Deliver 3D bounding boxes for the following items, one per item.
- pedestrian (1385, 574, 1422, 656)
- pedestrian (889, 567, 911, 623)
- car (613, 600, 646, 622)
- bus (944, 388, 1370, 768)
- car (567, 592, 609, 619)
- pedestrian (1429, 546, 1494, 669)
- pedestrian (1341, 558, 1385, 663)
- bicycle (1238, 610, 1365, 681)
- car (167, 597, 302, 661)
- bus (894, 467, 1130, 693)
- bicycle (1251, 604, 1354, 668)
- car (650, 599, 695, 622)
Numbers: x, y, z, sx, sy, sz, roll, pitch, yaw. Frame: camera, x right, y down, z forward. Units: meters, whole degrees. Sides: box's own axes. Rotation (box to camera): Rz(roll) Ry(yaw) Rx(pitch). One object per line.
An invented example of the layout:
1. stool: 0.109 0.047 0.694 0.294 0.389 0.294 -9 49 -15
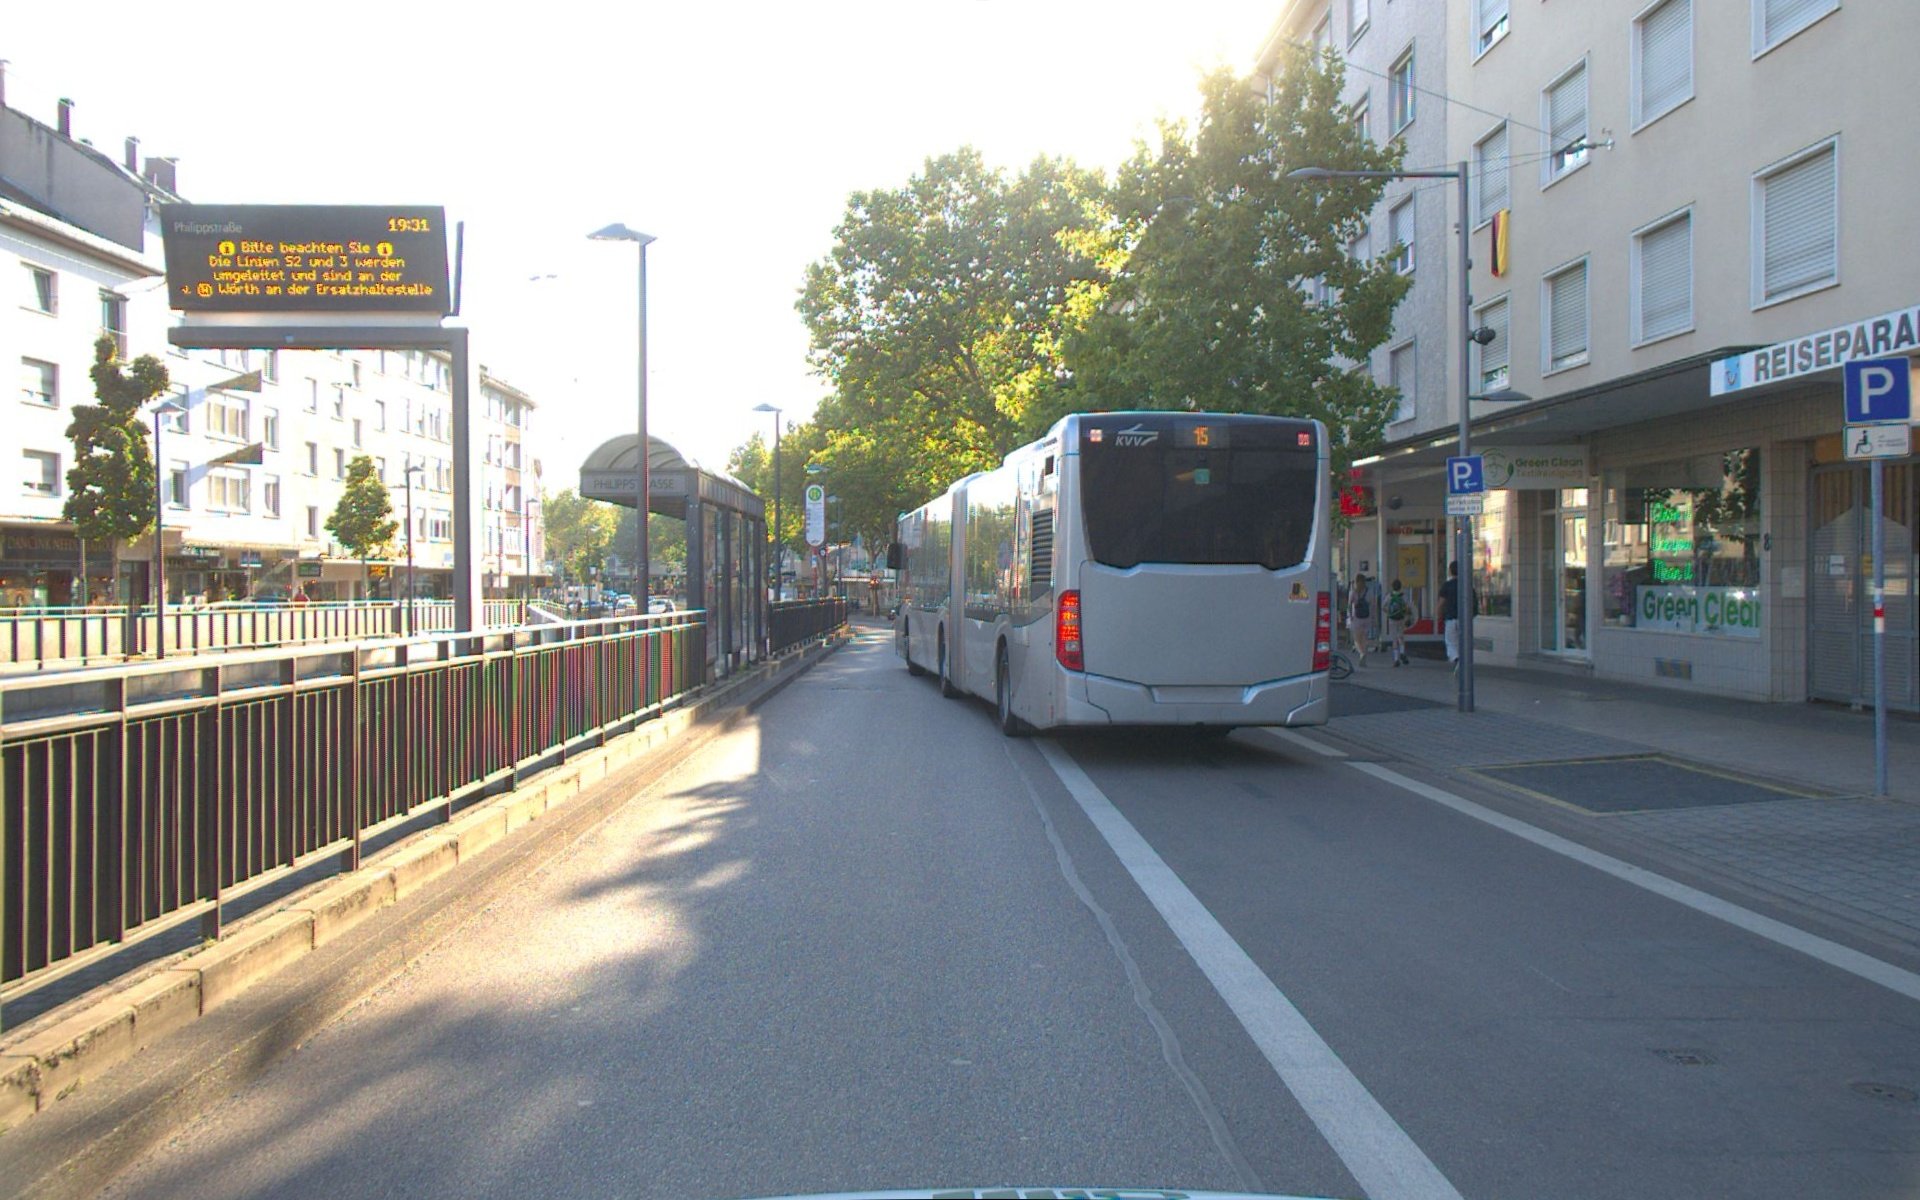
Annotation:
1. pedestrian: 7.783 0.262 29.027 0.465 1.419 0.611 -1 0 -1
2. pedestrian: -2.810 -0.232 77.371 0.870 2.591 1.164 -1 0 6
3. car: -26.923 0.875 134.950 1.953 1.680 3.999 -1 0 -1
4. bus: 1.641 -0.230 18.627 2.645 3.172 9.368 0 1 -7
5. car: -24.741 0.351 110.151 1.953 1.680 3.999 -1 0 -1
6. pedestrian: 7.575 0.107 24.996 0.709 1.827 0.766 -1 0 -1
7. pedestrian: 7.121 0.181 29.235 0.553 1.827 0.766 -1 0 -1
8. bicycle: 5.401 0.706 26.224 1.748 0.958 0.793 -5 0 -6
9. car: -23.188 0.892 52.927 1.740 1.708 3.489 1 5 43
10. bus: 0.564 -0.327 27.812 2.645 3.172 9.057 0 1 -7
11. bicycle: 5.687 0.588 27.430 1.677 0.958 0.645 0 -9 -37
12. car: -25.964 0.942 149.433 3.914 2.049 1.959 0 0 -10
